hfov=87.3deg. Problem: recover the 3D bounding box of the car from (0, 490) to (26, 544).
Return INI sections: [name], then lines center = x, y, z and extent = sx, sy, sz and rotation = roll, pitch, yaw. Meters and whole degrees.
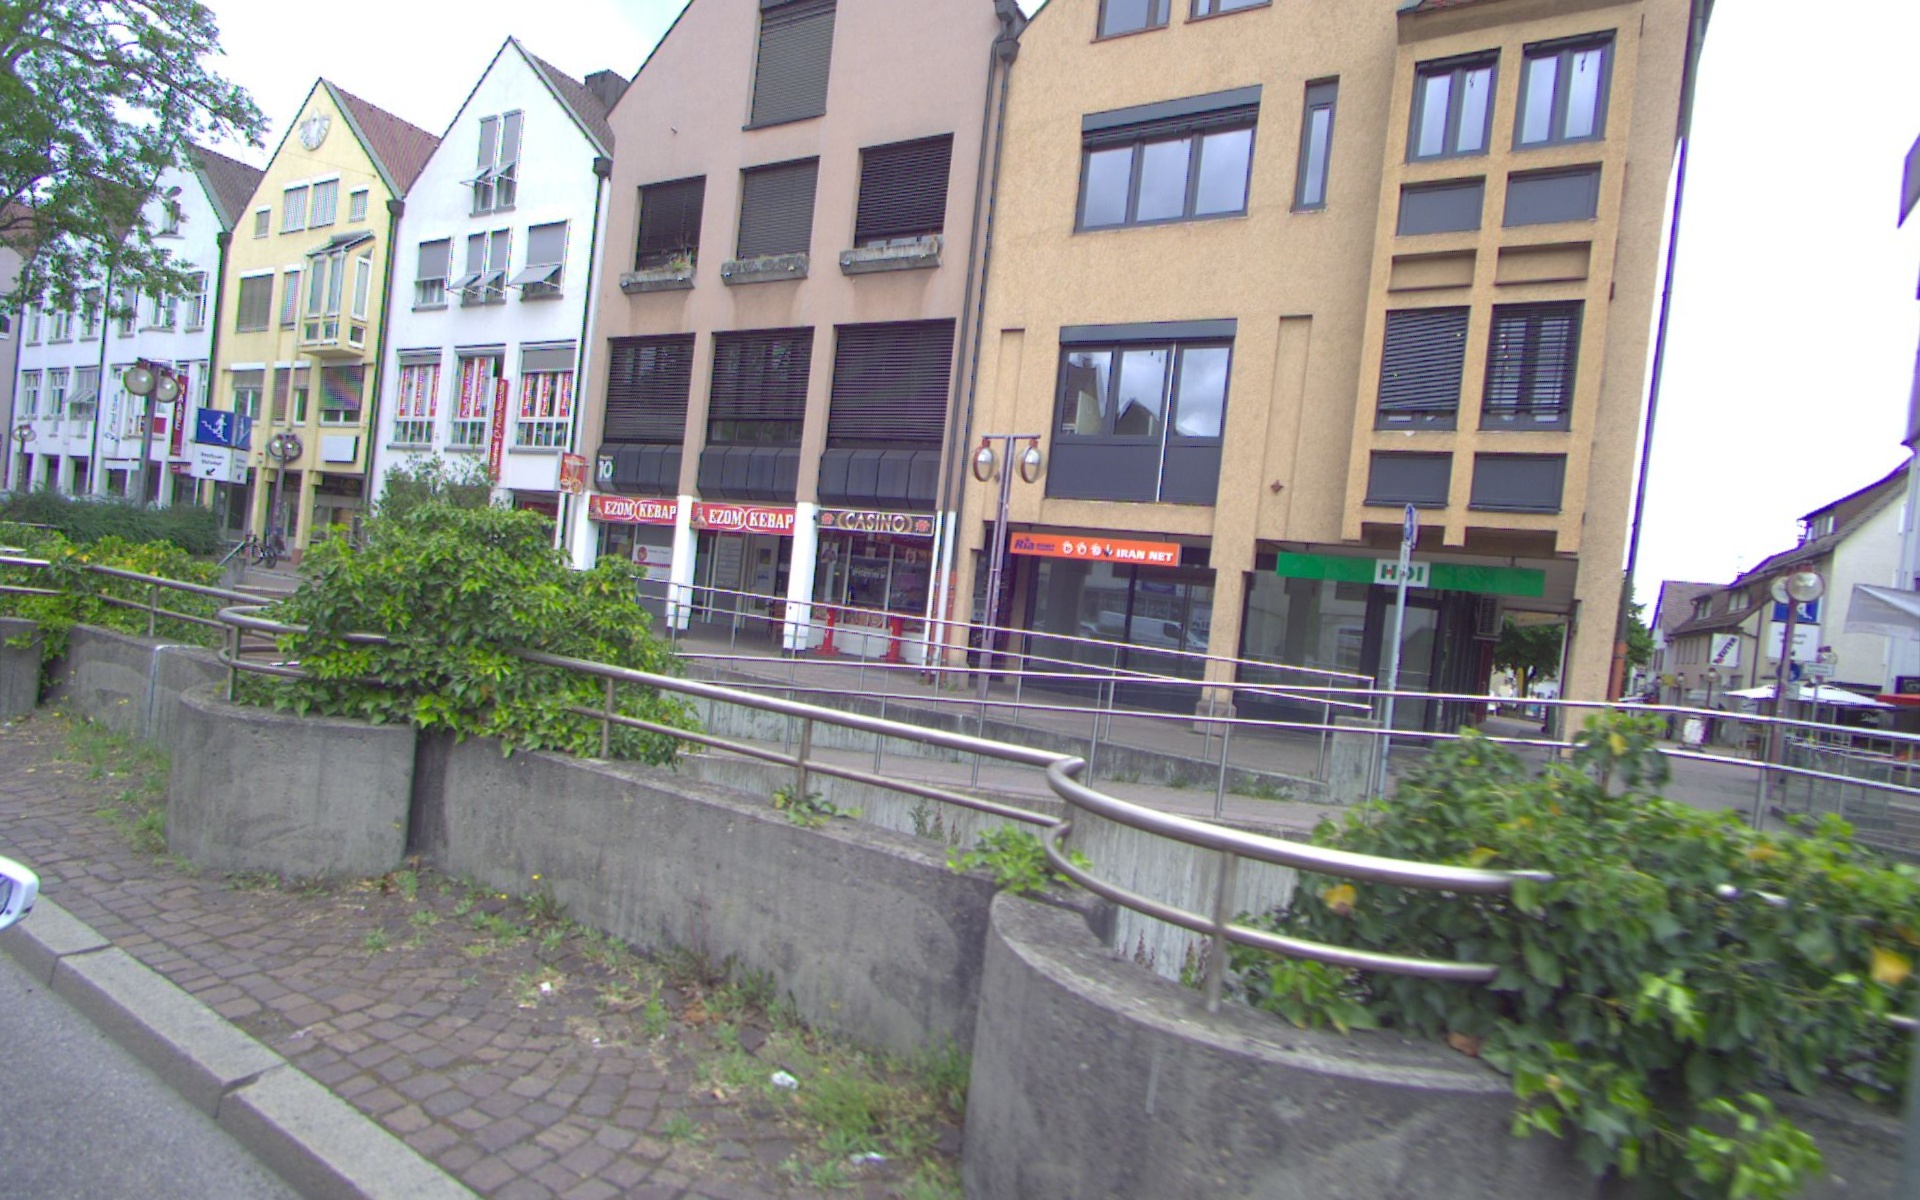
[car]
center = -30.280, -2.717, 30.353
extent = 3.931, 1.546, 1.870
rotation = 7, 0, 29
